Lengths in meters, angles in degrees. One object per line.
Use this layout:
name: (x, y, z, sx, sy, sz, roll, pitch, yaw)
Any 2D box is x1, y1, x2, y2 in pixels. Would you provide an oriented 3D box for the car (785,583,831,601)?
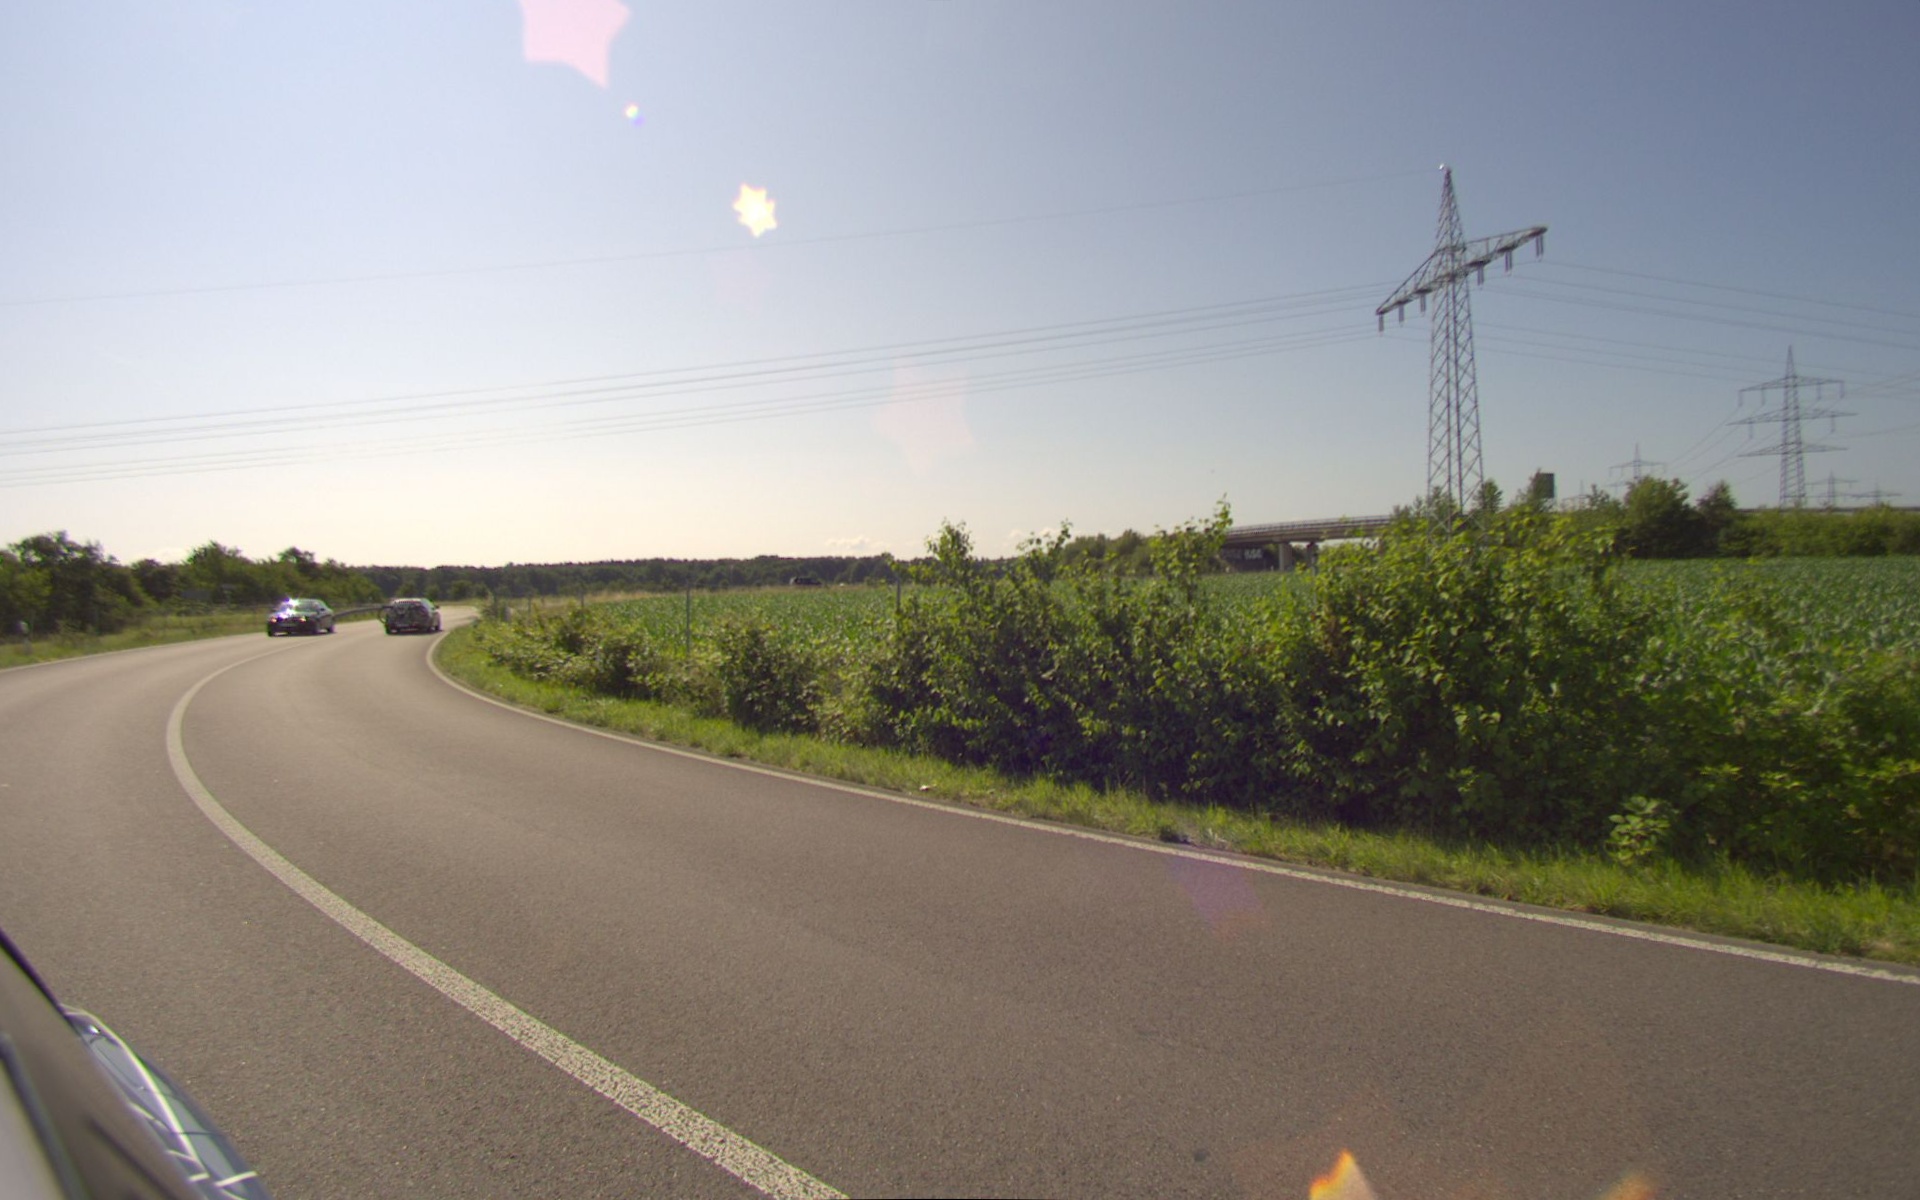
car: (-15.317, -0.829, 102.073, 4.190, 1.719, 1.996, -2, 3, -33)

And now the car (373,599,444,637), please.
car: (-23.427, 0.715, 43.153, 1.840, 1.492, 5.152, 1, 0, -20)

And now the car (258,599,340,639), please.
car: (-27.054, 0.736, 41.587, 1.855, 1.467, 4.088, -1, 1, -19)
